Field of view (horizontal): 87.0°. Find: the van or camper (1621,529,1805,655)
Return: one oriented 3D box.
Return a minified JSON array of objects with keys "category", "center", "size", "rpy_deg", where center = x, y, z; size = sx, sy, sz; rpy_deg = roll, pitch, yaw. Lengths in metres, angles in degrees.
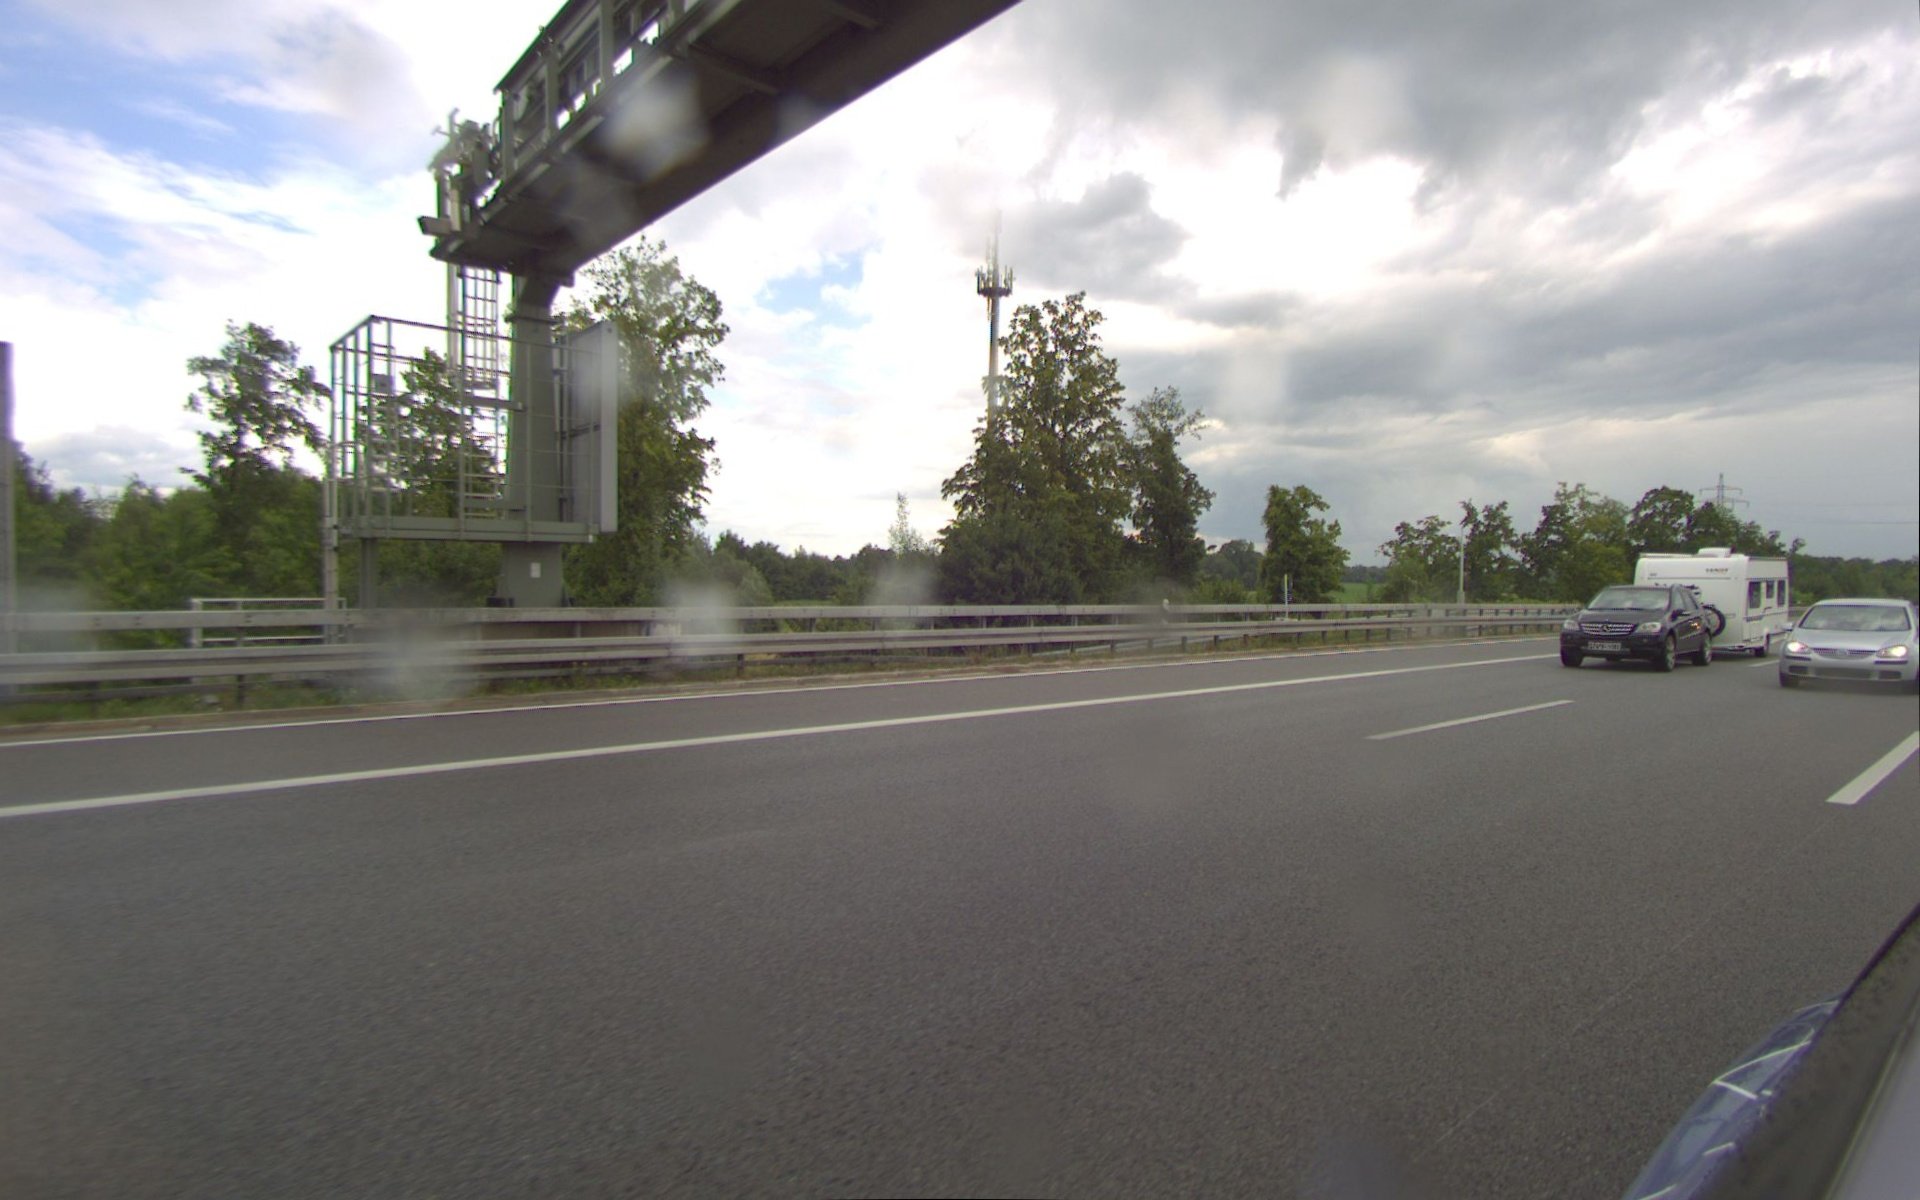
[{"category":"van or camper","center":[19.072,-0.190,25.463],"size":[7.085,2.773,2.387],"rpy_deg":[0,0,-42]}]

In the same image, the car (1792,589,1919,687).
[{"category":"car","center":[15.467,0.563,17.052],"size":[3.931,1.464,1.681],"rpy_deg":[0,1,-42]}]

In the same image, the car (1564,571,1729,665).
[{"category":"car","center":[14.740,0.324,21.644],"size":[4.425,1.798,1.923],"rpy_deg":[0,1,-42]}]
